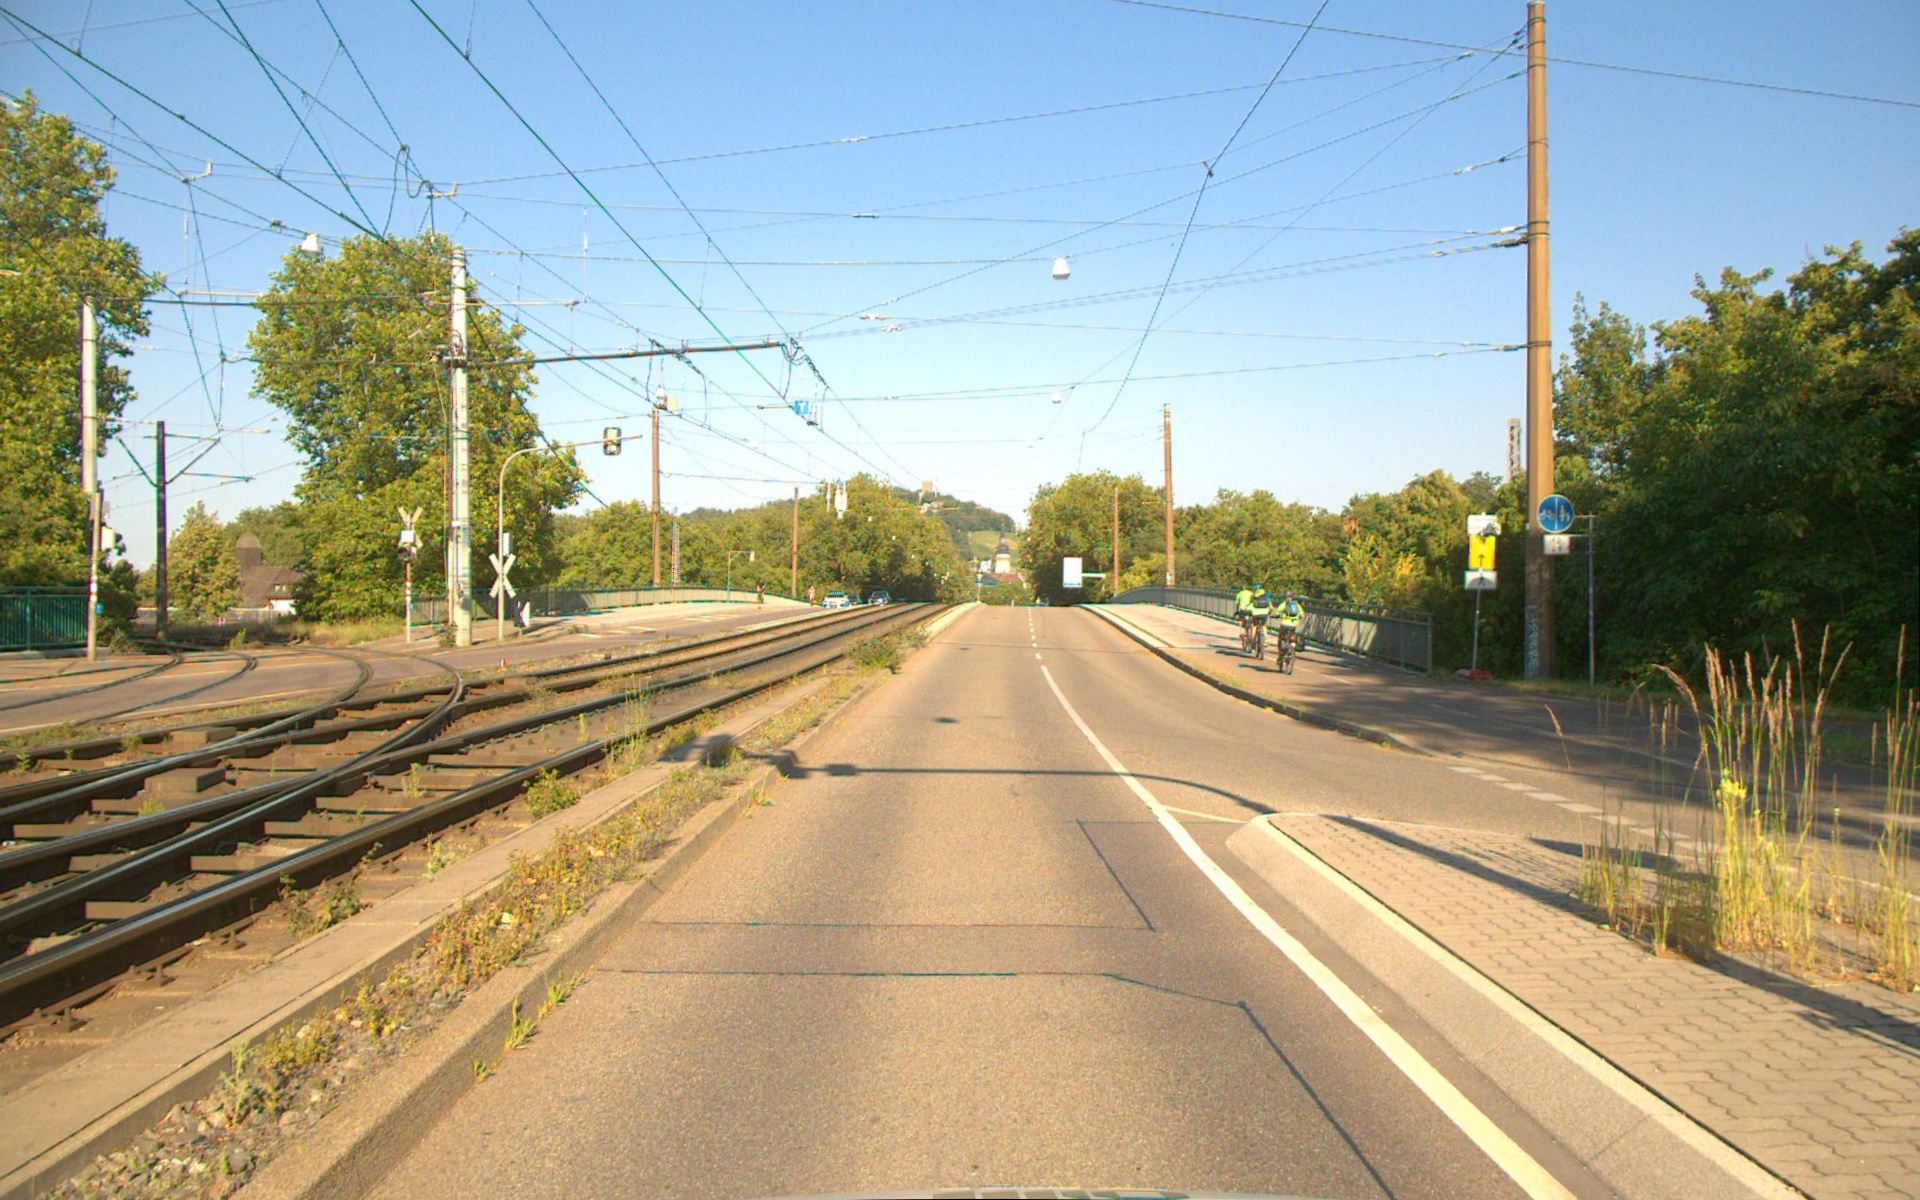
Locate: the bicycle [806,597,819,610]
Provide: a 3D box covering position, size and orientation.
[{"bbox_3d":[-12.796,0.323,143.500,0.612,1.142,2.261,0,0,6],"label":"bicycle"}]

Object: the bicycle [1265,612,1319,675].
[{"bbox_3d":[6.533,0.840,32.650,0.669,1.142,2.217,0,1,2],"label":"bicycle"}]

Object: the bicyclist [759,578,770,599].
[{"bbox_3d":[-14.030,-0.816,118.874,0.612,1.457,0.969,0,0,1],"label":"bicyclist"}]

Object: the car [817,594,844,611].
[{"bbox_3d":[-10.646,0.177,136.003,1.649,1.380,4.921,0,0,2],"label":"car"}]

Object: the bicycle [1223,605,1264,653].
[{"bbox_3d":[7.092,0.713,41.426,0.612,1.142,2.259,0,0,0],"label":"bicycle"}]

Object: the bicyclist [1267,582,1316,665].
[{"bbox_3d":[6.526,0.450,32.627,0.795,1.589,0.897,0,1,2],"label":"bicyclist"}]

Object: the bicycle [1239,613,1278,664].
[{"bbox_3d":[6.944,0.882,38.550,0.612,1.142,2.042,0,0,2],"label":"bicycle"}]

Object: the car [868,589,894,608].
[{"bbox_3d":[-6.595,-0.142,138.091,1.810,1.528,4.220,0,0,2],"label":"car"}]

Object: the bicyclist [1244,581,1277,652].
[{"bbox_3d":[6.982,0.383,38.499,0.612,1.620,0.931,0,0,2],"label":"bicyclist"}]

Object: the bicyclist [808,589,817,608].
[{"bbox_3d":[-12.803,-0.137,143.416,0.612,1.662,0.936,0,0,6],"label":"bicyclist"}]

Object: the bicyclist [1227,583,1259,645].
[{"bbox_3d":[7.098,0.338,41.463,0.612,1.534,1.006,0,0,-1],"label":"bicyclist"}]
